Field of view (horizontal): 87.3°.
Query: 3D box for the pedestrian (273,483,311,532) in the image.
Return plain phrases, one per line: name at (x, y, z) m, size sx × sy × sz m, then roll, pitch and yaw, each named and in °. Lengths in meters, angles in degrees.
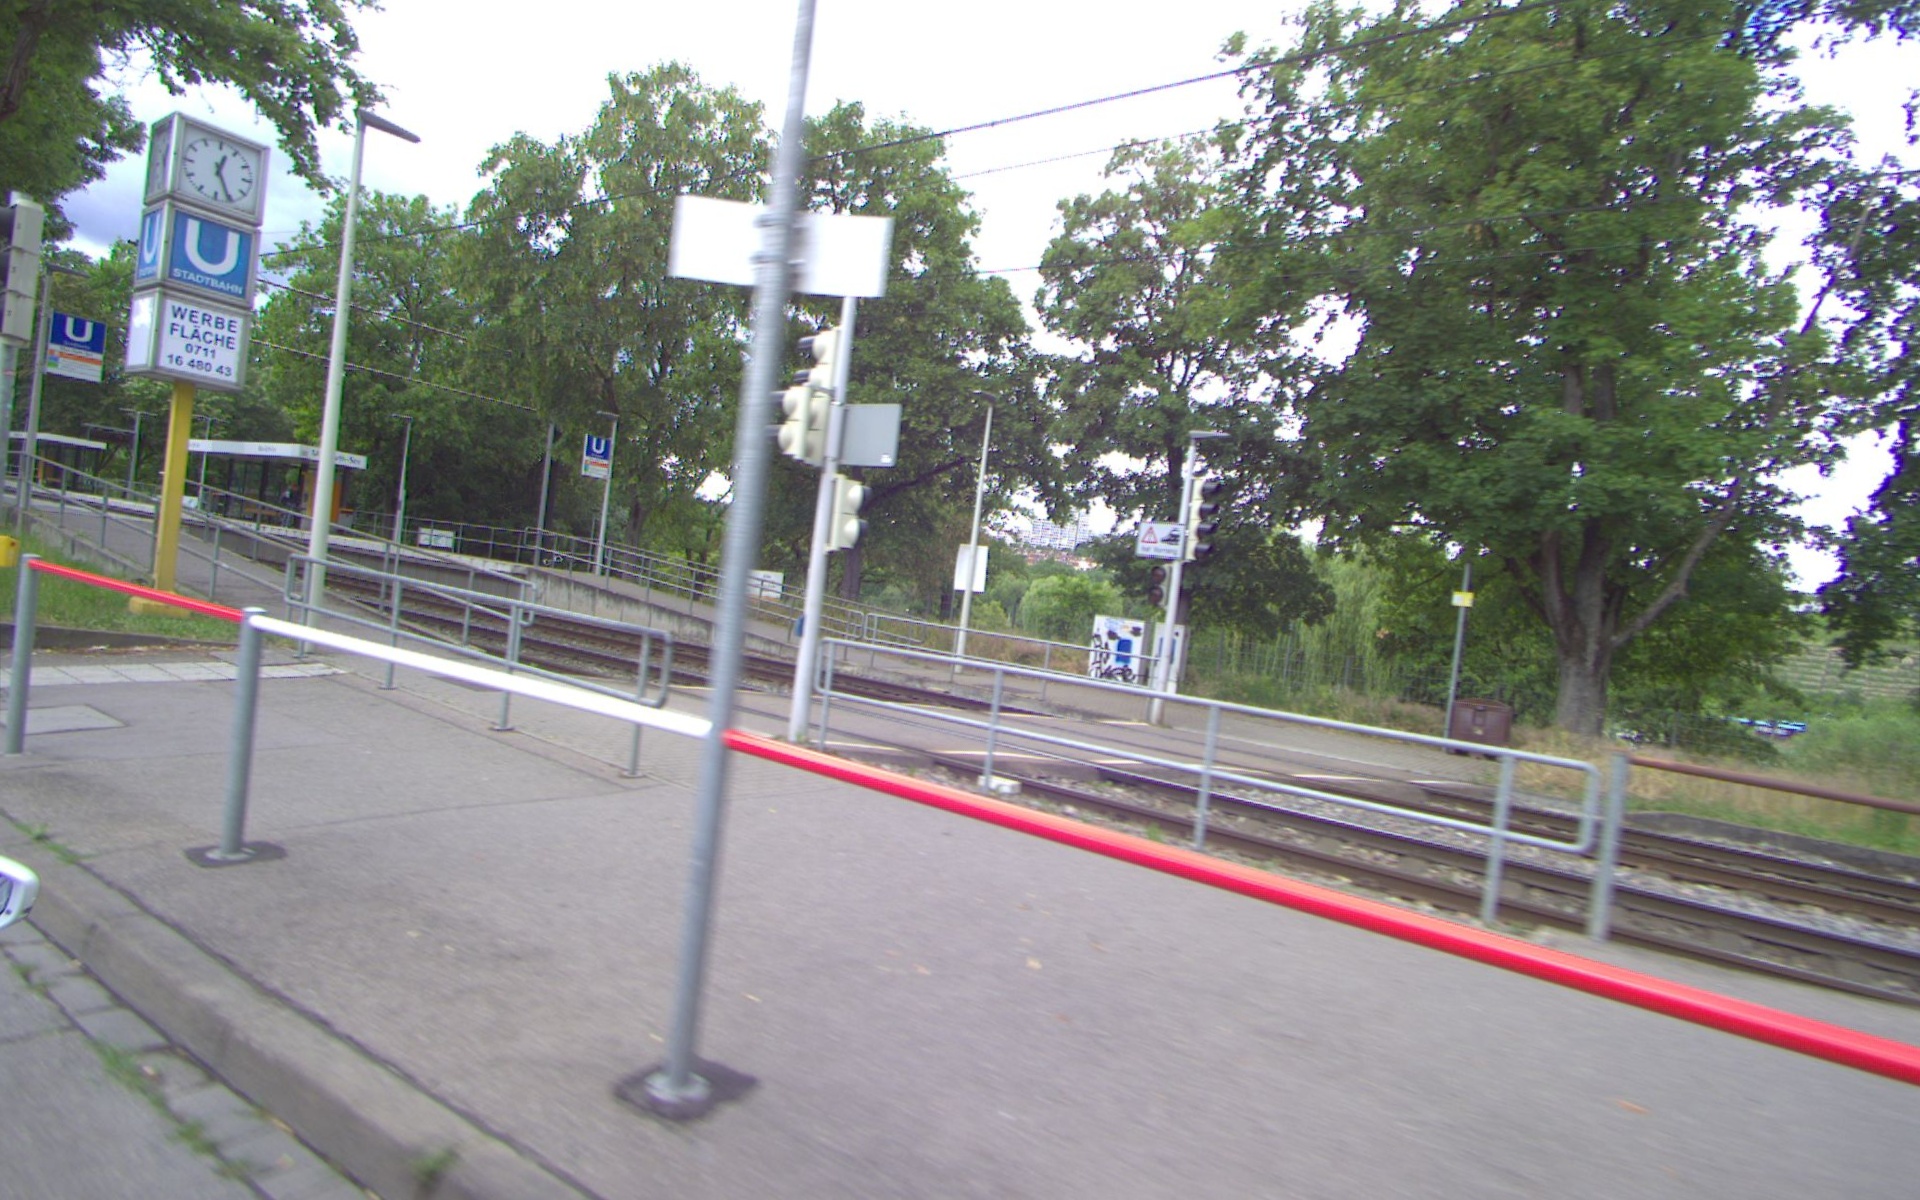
pedestrian at (-22.734, -3.145, 34.240) m, size 0.713 × 1.529 × 0.718 m, roll 7°, pitch -1°, yaw 38°
